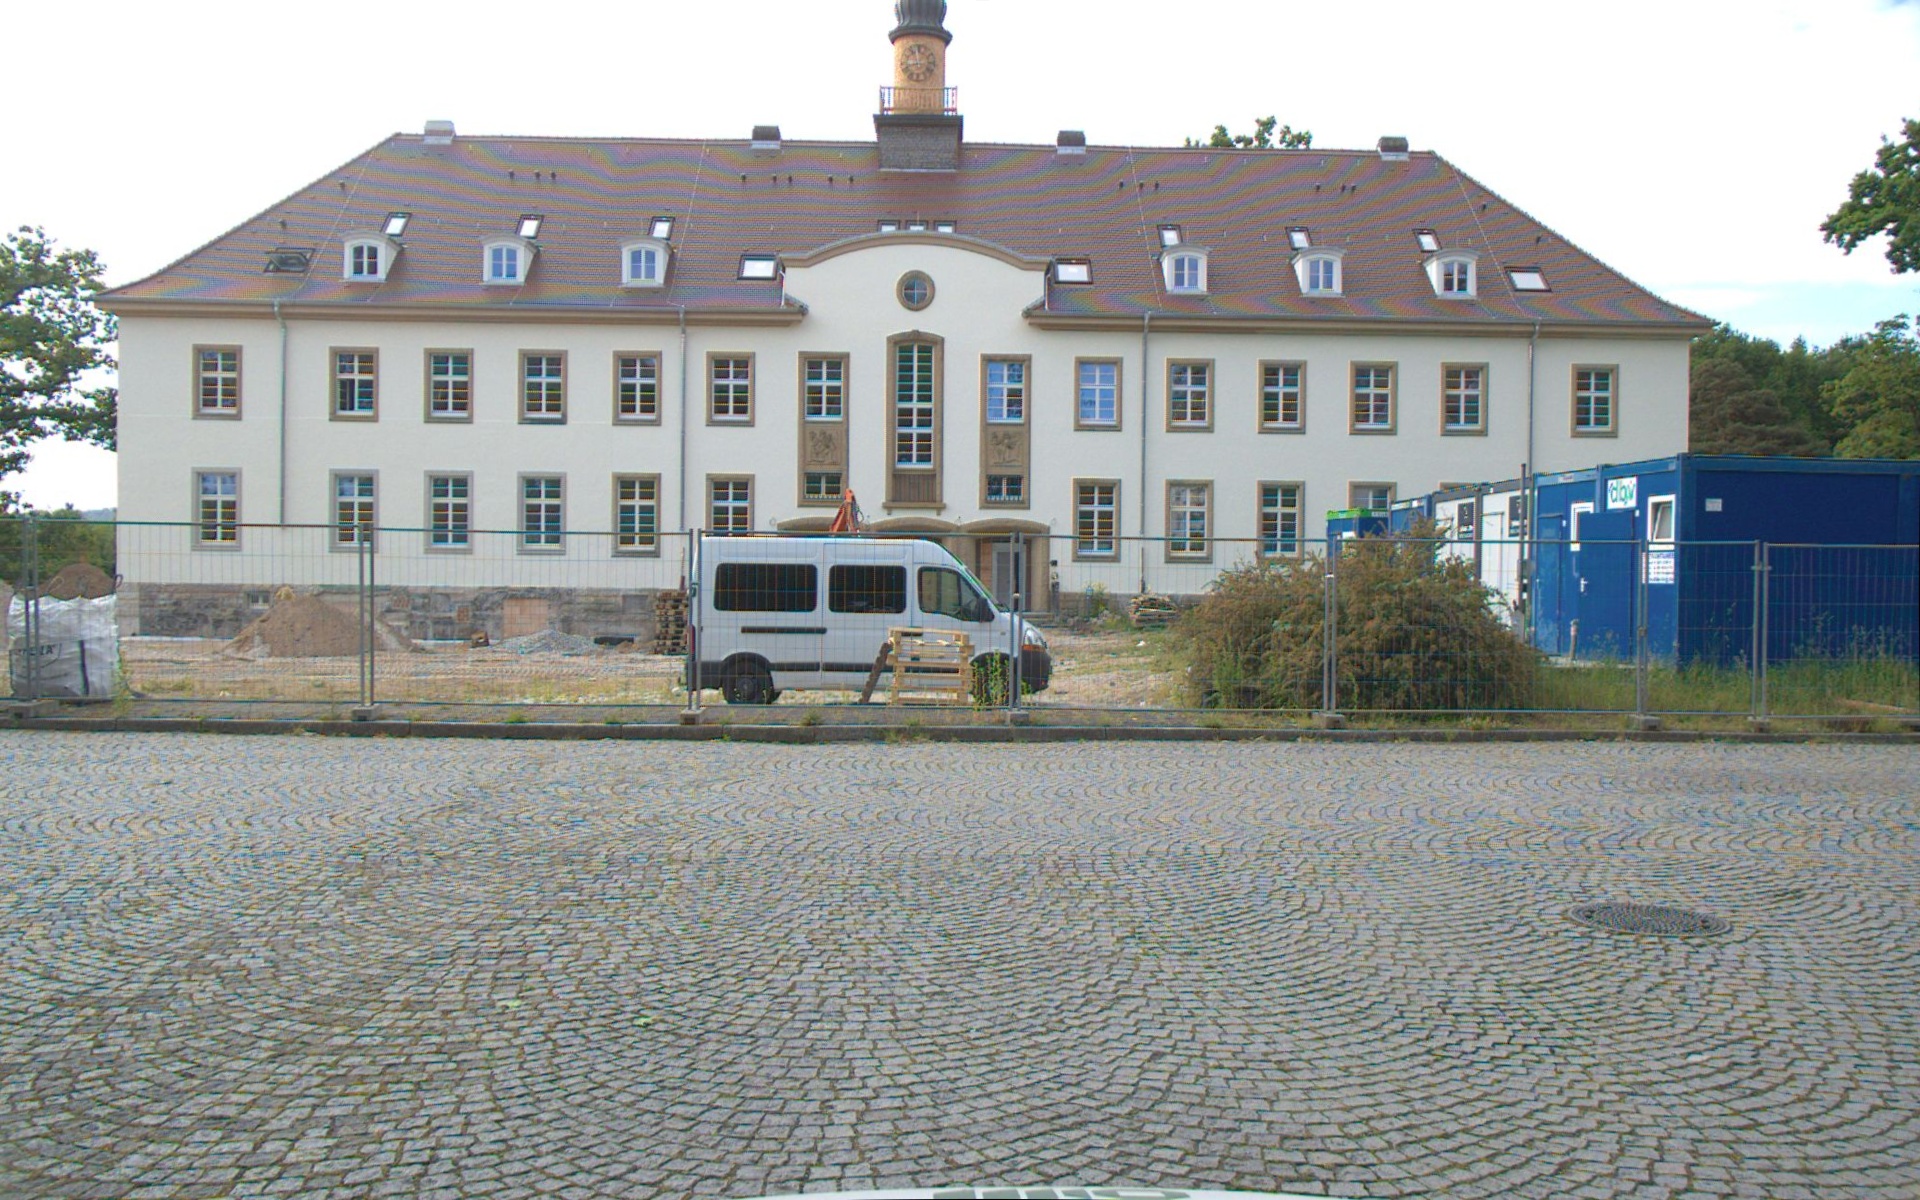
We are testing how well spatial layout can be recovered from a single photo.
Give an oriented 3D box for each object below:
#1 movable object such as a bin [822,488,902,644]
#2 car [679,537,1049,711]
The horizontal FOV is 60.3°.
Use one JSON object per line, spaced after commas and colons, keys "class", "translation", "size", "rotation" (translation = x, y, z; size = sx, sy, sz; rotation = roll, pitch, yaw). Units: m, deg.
{"class": "movable object such as a bin", "translation": [-2.646, -0.860, 43.675], "size": [1.955, 3.837, 5.312], "rotation": [0, 0, -5]}
{"class": "car", "translation": [-1.339, 0.328, 24.048], "size": [5.155, 2.385, 1.910], "rotation": [0, 0, 0]}
